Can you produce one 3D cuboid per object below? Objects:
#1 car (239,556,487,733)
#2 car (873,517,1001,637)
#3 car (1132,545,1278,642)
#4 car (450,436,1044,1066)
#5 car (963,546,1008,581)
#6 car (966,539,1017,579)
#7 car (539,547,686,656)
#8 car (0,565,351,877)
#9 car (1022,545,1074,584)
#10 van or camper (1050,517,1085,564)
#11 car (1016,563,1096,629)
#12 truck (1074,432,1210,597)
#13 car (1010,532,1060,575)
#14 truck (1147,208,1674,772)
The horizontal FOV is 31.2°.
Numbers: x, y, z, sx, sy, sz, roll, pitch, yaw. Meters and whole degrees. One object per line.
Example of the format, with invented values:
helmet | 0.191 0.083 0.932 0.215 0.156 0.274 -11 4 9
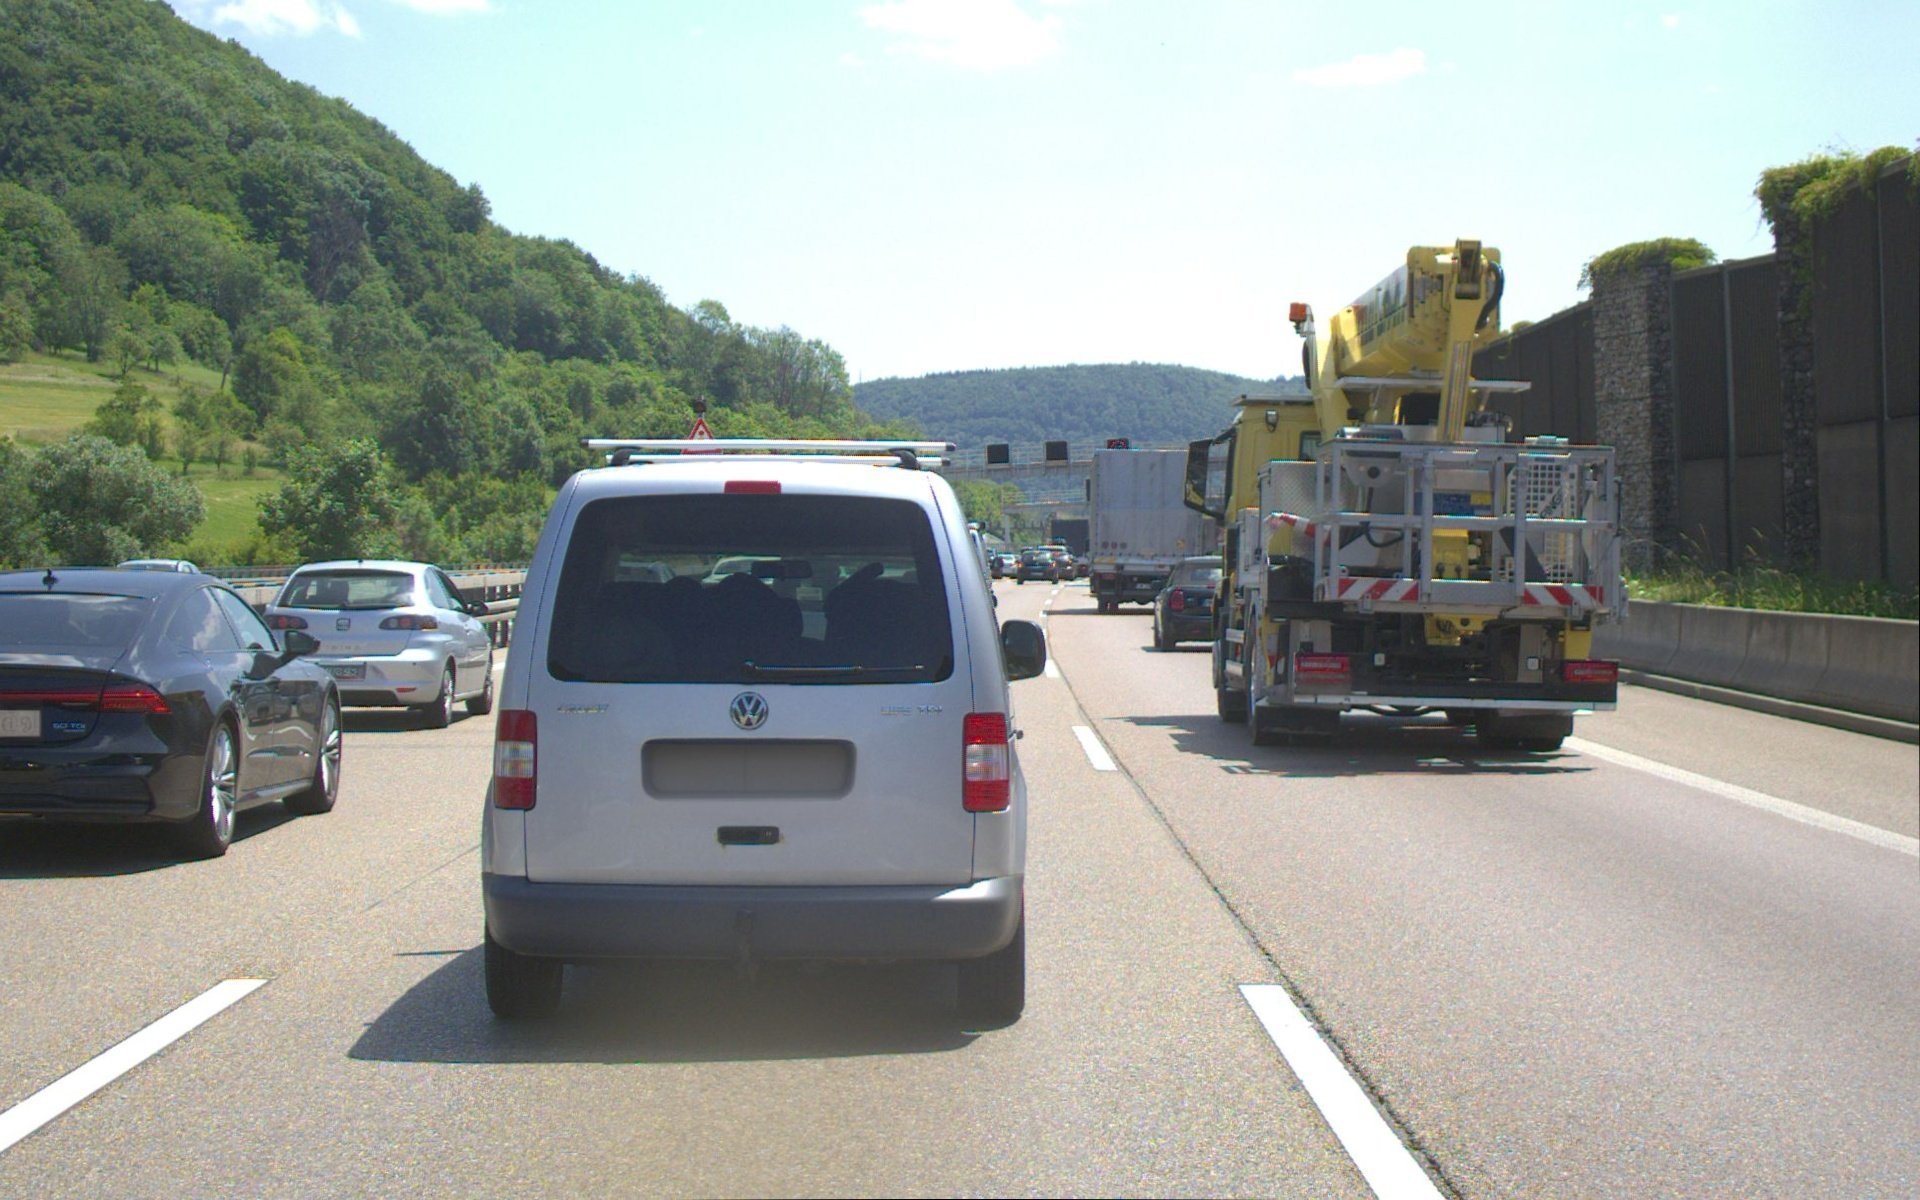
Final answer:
car | -5.195 0.343 30.336 1.695 1.440 3.862 0 1 -3
car | -0.429 -0.414 58.843 1.993 1.969 4.001 0 1 -3
car | 3.770 -0.131 53.487 1.786 1.453 3.771 0 1 -3
car | -0.745 0.415 12.223 1.756 1.861 4.001 0 1 -3
car | 1.348 -1.946 185.074 2.114 1.821 4.001 1 0 -4
car | 1.502 -1.941 163.641 2.114 1.821 4.001 1 0 -4
car | -4.950 -0.007 49.367 1.924 1.494 4.001 1 1 -3
car | -4.487 0.528 18.077 1.800 1.385 4.970 0 1 -1
car | 4.256 -1.706 166.881 2.114 1.821 4.001 1 0 -4
van or camper | 6.858 -3.805 220.006 1.993 2.943 5.423 1 0 -1
car | 2.716 -0.130 98.359 2.114 1.821 4.000 1 0 -1
truck | 4.374 -2.024 84.265 2.940 3.810 8.236 1 0 1
car | 3.135 -1.943 144.687 1.993 1.743 4.000 1 0 0
truck | 3.389 -0.836 28.347 2.703 3.929 8.723 0 1 -3
